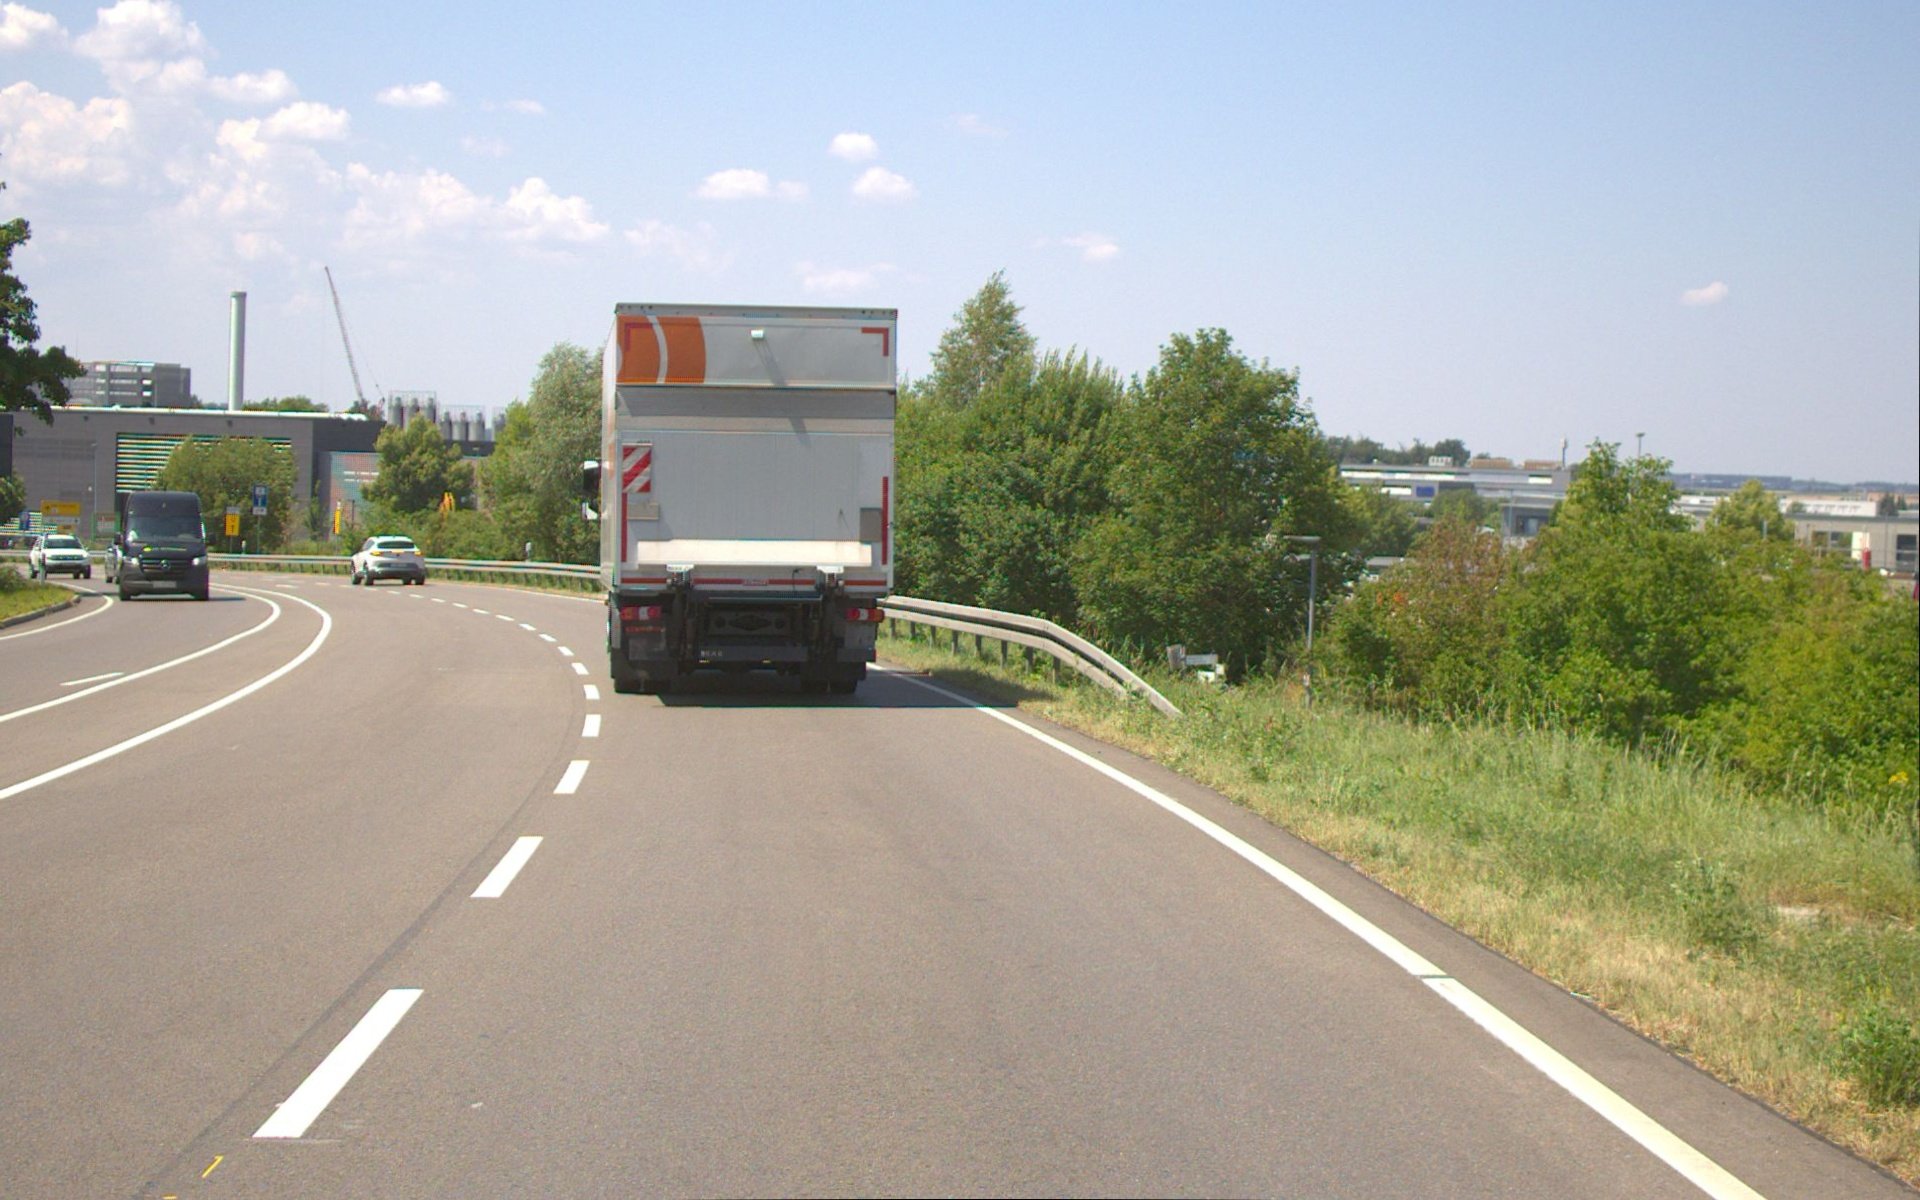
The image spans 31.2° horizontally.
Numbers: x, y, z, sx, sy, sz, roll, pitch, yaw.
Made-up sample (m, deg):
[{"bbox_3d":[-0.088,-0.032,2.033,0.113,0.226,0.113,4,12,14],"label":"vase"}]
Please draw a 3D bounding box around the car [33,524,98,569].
[{"bbox_3d":[-32.824,-1.963,126.100,1.993,1.623,4.198,0,1,-19],"label":"car"}]

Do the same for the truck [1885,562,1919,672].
[{"bbox_3d":[36.585,0.850,116.628,9.404,3.671,3.126,4,3,28],"label":"truck"}]

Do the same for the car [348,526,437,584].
[{"bbox_3d":[-17.615,-1.388,106.559,1.943,1.658,4.001,3,0,-20],"label":"car"}]

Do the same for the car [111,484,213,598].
[{"bbox_3d":[-18.845,-1.402,81.100,2.187,2.532,6.039,1,1,-14],"label":"car"}]

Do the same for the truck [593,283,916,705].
[{"bbox_3d":[-2.311,-1.051,35.124,2.803,3.698,9.110,1,1,-6],"label":"truck"}]
